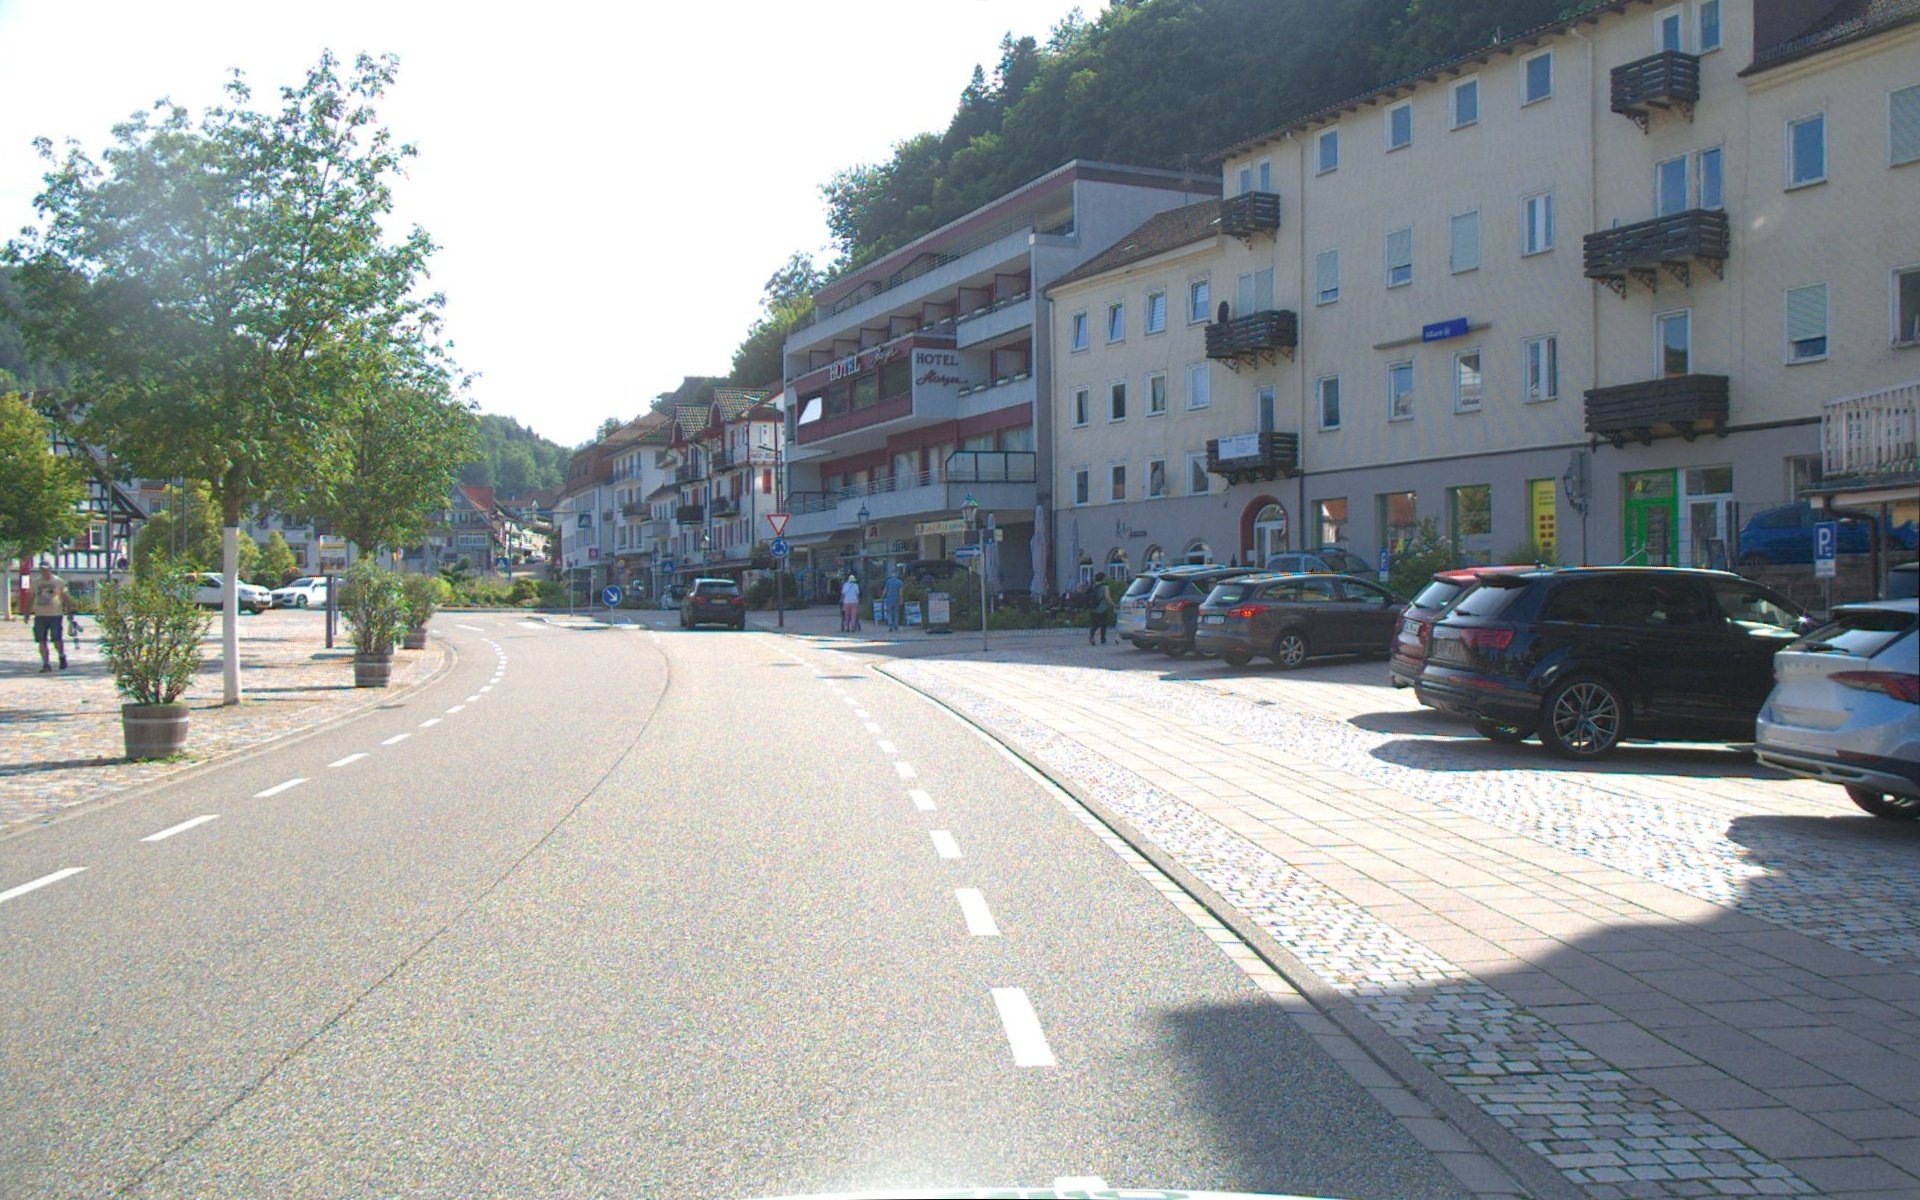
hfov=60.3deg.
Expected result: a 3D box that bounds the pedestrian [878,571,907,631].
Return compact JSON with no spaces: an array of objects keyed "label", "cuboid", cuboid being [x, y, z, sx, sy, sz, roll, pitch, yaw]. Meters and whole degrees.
[{"label":"pedestrian","cuboid":[-1.994,0.016,48.783,0.659,1.759,0.703,0,0,-22]}]

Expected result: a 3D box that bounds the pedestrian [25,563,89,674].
[{"label":"pedestrian","cuboid":[-15.243,0.297,27.935,0.854,1.847,0.687,0,0,-21]}]

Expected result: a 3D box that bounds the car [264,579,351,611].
[{"label":"car","cuboid":[-30.307,-0.261,76.970,1.649,1.445,4.186,0,0,14]}]

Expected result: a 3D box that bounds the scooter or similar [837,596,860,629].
[{"label":"scooter or similar","cuboid":[-3.315,0.359,49.211,0.588,0.967,0.471,0,0,-22]}]

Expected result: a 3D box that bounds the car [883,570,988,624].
[{"label":"car","cuboid":[-0.800,-0.115,53.823,3.116,1.692,1.585,0,0,-20]}]

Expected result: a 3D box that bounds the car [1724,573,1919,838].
[{"label":"car","cuboid":[7.279,0.715,10.208,4.266,1.486,1.773,3,-1,3]}]

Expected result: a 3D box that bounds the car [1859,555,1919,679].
[{"label":"car","cuboid":[14.366,0.180,22.905,3.873,1.637,1.753,-2,2,-33]}]

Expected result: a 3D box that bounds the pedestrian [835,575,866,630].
[{"label":"pedestrian","cuboid":[-3.244,0.061,49.046,0.746,1.621,0.624,0,0,-22]}]

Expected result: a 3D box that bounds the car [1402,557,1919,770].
[{"label":"car","cuboid":[6.328,0.543,15.259,4.000,1.695,1.773,2,0,1]}]

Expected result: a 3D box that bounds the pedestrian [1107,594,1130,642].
[{"label":"pedestrian","cuboid":[3.523,0.392,36.693,0.408,1.019,0.531,-2,1,12]}]

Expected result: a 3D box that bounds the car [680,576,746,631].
[{"label":"car","cuboid":[-7.816,0.073,52.064,1.698,1.602,3.739,0,2,-14]}]

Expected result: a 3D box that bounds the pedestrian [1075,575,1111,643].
[{"label":"pedestrian","cuboid":[2.967,0.194,36.899,0.719,1.467,0.633,-2,0,2]}]

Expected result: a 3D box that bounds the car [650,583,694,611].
[{"label":"car","cuboid":[-16.960,-0.187,97.276,1.654,1.649,3.971,0,0,-23]}]

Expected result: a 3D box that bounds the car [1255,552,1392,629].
[{"label":"car","cuboid":[10.195,-0.312,46.596,1.838,2.048,3.642,0,2,-30]}]

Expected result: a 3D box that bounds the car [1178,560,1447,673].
[{"label":"car","cuboid":[5.754,0.223,27.051,3.951,1.542,1.763,-4,2,-20]}]

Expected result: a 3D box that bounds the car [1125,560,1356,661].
[{"label":"car","cuboid":[5.159,0.149,30.485,3.804,1.576,1.763,-4,2,-20]}]

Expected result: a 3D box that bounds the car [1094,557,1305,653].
[{"label":"car","cuboid":[4.810,0.068,33.293,3.804,1.640,1.763,-4,2,-20]}]

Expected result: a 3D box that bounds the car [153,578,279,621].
[{"label":"car","cuboid":[-28.602,-0.025,63.615,4.081,1.644,1.691,0,0,4]}]

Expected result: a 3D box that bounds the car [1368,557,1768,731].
[{"label":"car","cuboid":[6.774,0.453,18.730,3.829,1.730,1.773,2,1,1]}]
